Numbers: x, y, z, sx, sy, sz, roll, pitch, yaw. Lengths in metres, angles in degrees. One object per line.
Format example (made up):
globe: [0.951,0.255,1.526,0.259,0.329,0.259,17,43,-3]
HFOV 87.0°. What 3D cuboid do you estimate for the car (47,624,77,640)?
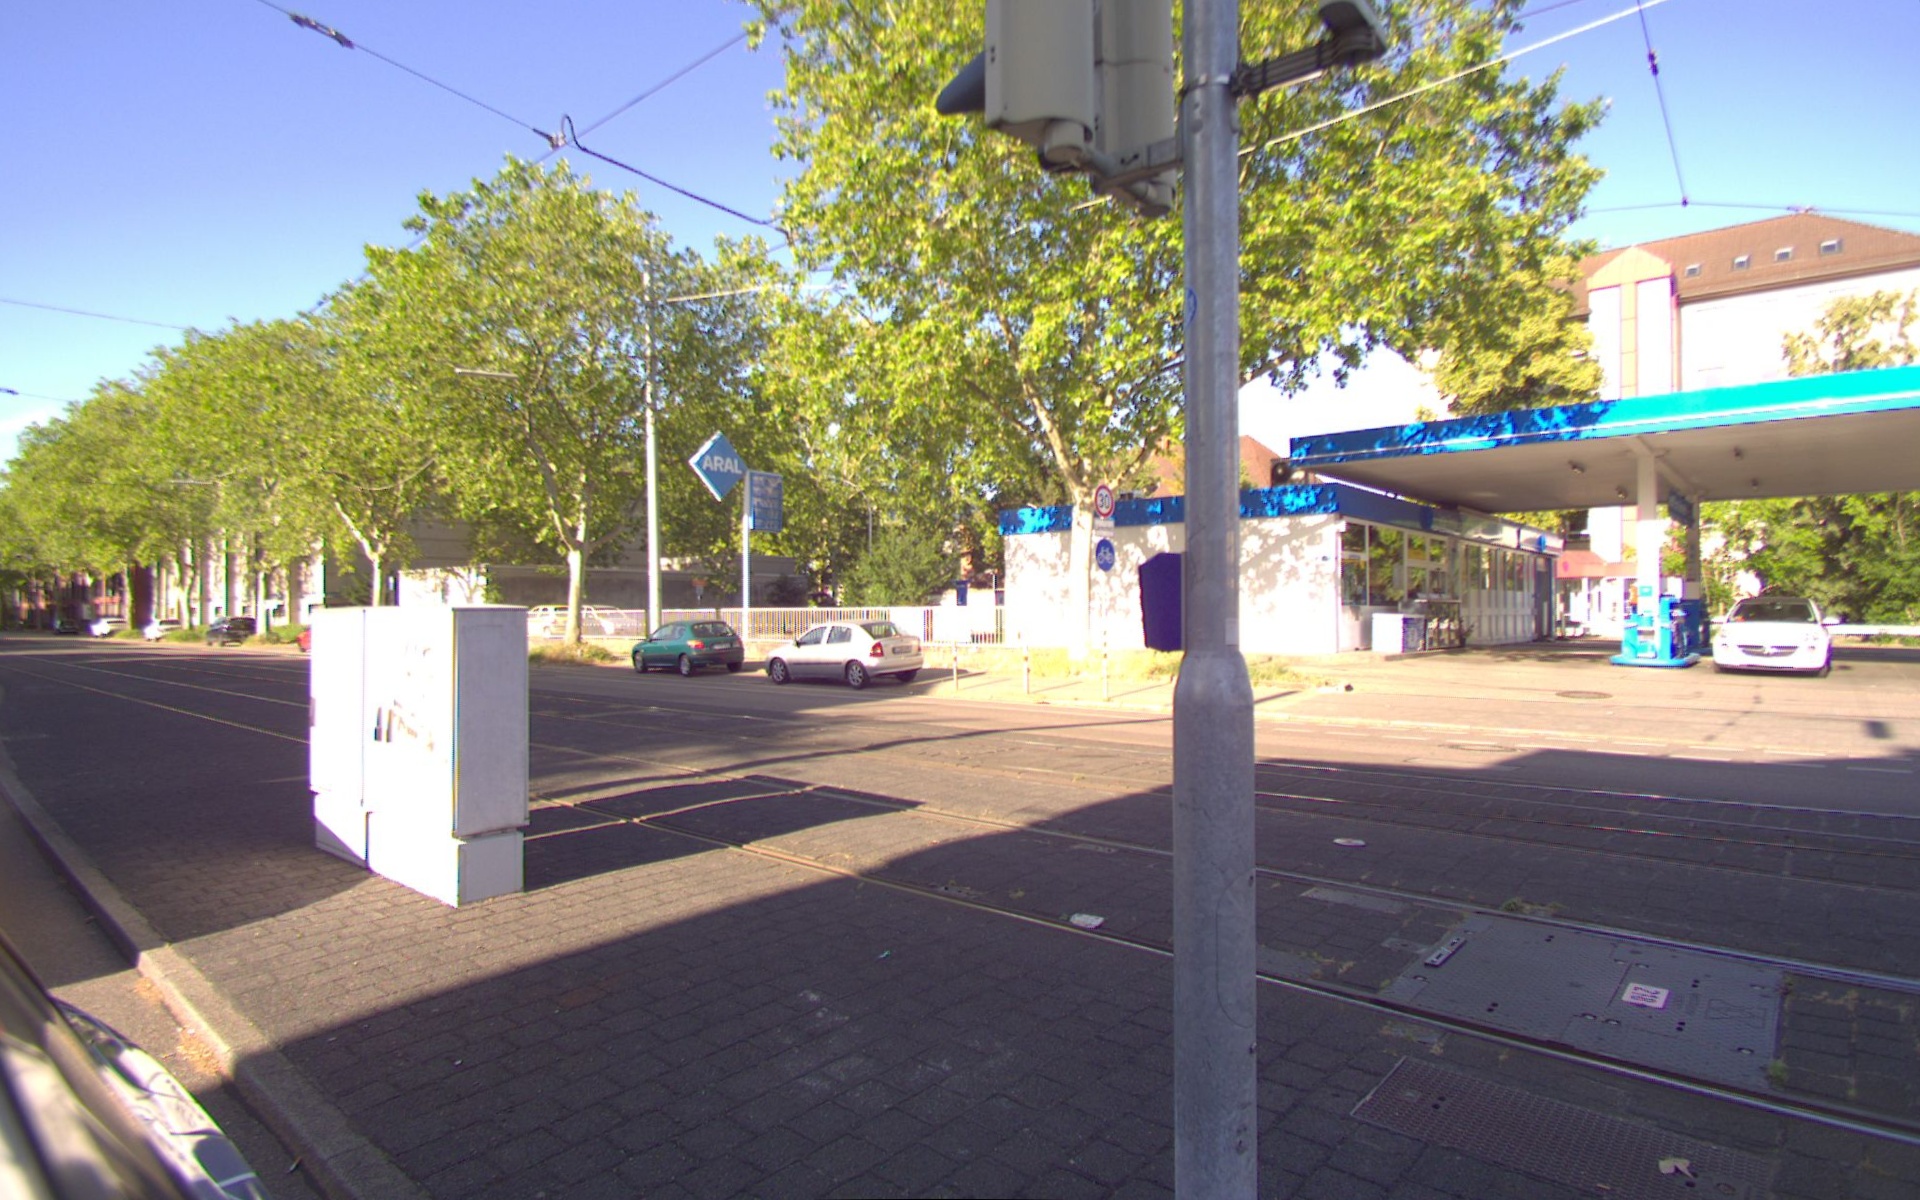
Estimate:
car: [-85.243,3.022,96.038,3.748,1.459,1.674,-1,1,41]

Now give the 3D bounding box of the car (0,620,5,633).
car: [-133.934,3.666,140.466,3.748,1.798,1.674,-1,1,41]

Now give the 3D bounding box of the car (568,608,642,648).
car: [-15.269,1.193,43.442,3.303,1.604,1.579,-1,0,41]

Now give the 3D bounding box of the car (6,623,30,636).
car: [-112.143,3.553,120.499,3.748,1.459,1.674,-1,1,41]

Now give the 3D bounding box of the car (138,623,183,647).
car: [-53.864,2.337,68.173,3.748,1.459,1.674,-1,1,41]

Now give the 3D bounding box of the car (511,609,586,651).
car: [-17.088,1.228,41.965,3.303,1.628,1.579,-1,0,41]

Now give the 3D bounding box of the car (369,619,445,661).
car: [-21.880,1.555,39.997,3.303,1.519,1.579,-1,1,41]

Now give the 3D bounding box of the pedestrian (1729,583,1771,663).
pedestrian: [17.328,0.502,22.199,0.493,1.714,0.649,1,-2,-45]

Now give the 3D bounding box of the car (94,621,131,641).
car: [-66.682,2.440,79.601,3.748,1.459,1.674,-1,1,41]

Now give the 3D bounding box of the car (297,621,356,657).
car: [-28.690,1.752,45.825,2.621,1.519,1.579,-1,1,41]

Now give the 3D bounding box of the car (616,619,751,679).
car: [-7.404,1.264,26.966,3.748,1.413,1.674,-1,1,41]

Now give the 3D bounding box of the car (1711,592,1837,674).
car: [15.883,0.610,19.691,1.757,1.453,3.521,-1,-1,41]

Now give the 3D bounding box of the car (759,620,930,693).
car: [-2.640,1.204,22.638,3.812,1.413,1.674,-1,1,41]

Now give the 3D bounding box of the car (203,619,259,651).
car: [-40.679,1.935,56.448,3.748,1.670,1.674,-1,1,41]
